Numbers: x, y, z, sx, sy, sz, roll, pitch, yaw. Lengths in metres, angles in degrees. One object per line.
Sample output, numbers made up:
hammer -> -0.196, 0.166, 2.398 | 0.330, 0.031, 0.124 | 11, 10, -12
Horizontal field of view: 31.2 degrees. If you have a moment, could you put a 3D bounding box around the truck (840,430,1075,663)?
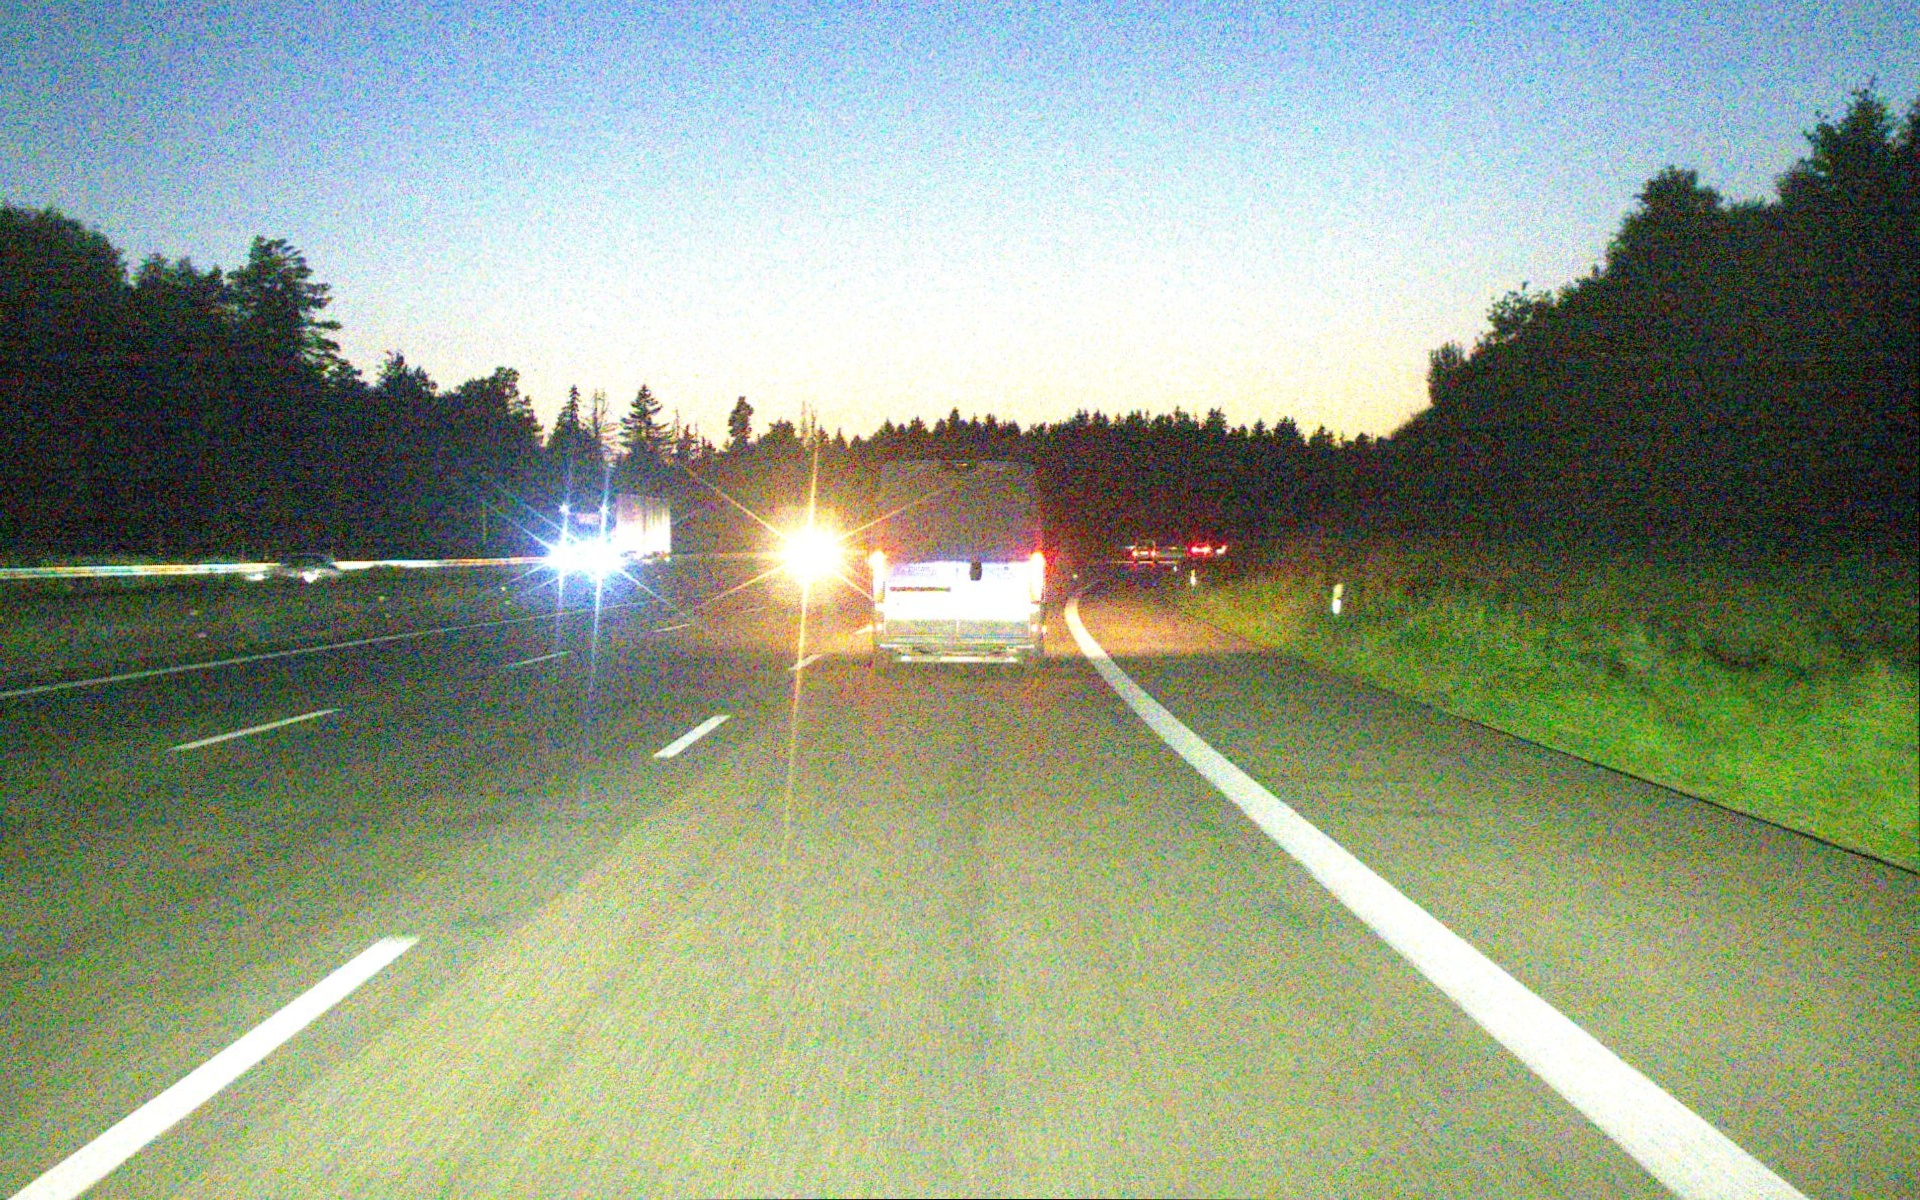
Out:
truck -> 0.115, -0.632, 43.256 | 2.630, 2.615, 8.684 | 0, 0, 2

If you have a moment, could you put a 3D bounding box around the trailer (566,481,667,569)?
trailer -> -17.479, -3.726, 176.157 | 2.688, 4.203, 17.252 | 0, 0, 3

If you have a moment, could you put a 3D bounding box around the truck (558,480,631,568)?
truck -> -17.847, -3.697, 168.298 | 2.714, 4.185, 5.420 | 0, 0, 3
